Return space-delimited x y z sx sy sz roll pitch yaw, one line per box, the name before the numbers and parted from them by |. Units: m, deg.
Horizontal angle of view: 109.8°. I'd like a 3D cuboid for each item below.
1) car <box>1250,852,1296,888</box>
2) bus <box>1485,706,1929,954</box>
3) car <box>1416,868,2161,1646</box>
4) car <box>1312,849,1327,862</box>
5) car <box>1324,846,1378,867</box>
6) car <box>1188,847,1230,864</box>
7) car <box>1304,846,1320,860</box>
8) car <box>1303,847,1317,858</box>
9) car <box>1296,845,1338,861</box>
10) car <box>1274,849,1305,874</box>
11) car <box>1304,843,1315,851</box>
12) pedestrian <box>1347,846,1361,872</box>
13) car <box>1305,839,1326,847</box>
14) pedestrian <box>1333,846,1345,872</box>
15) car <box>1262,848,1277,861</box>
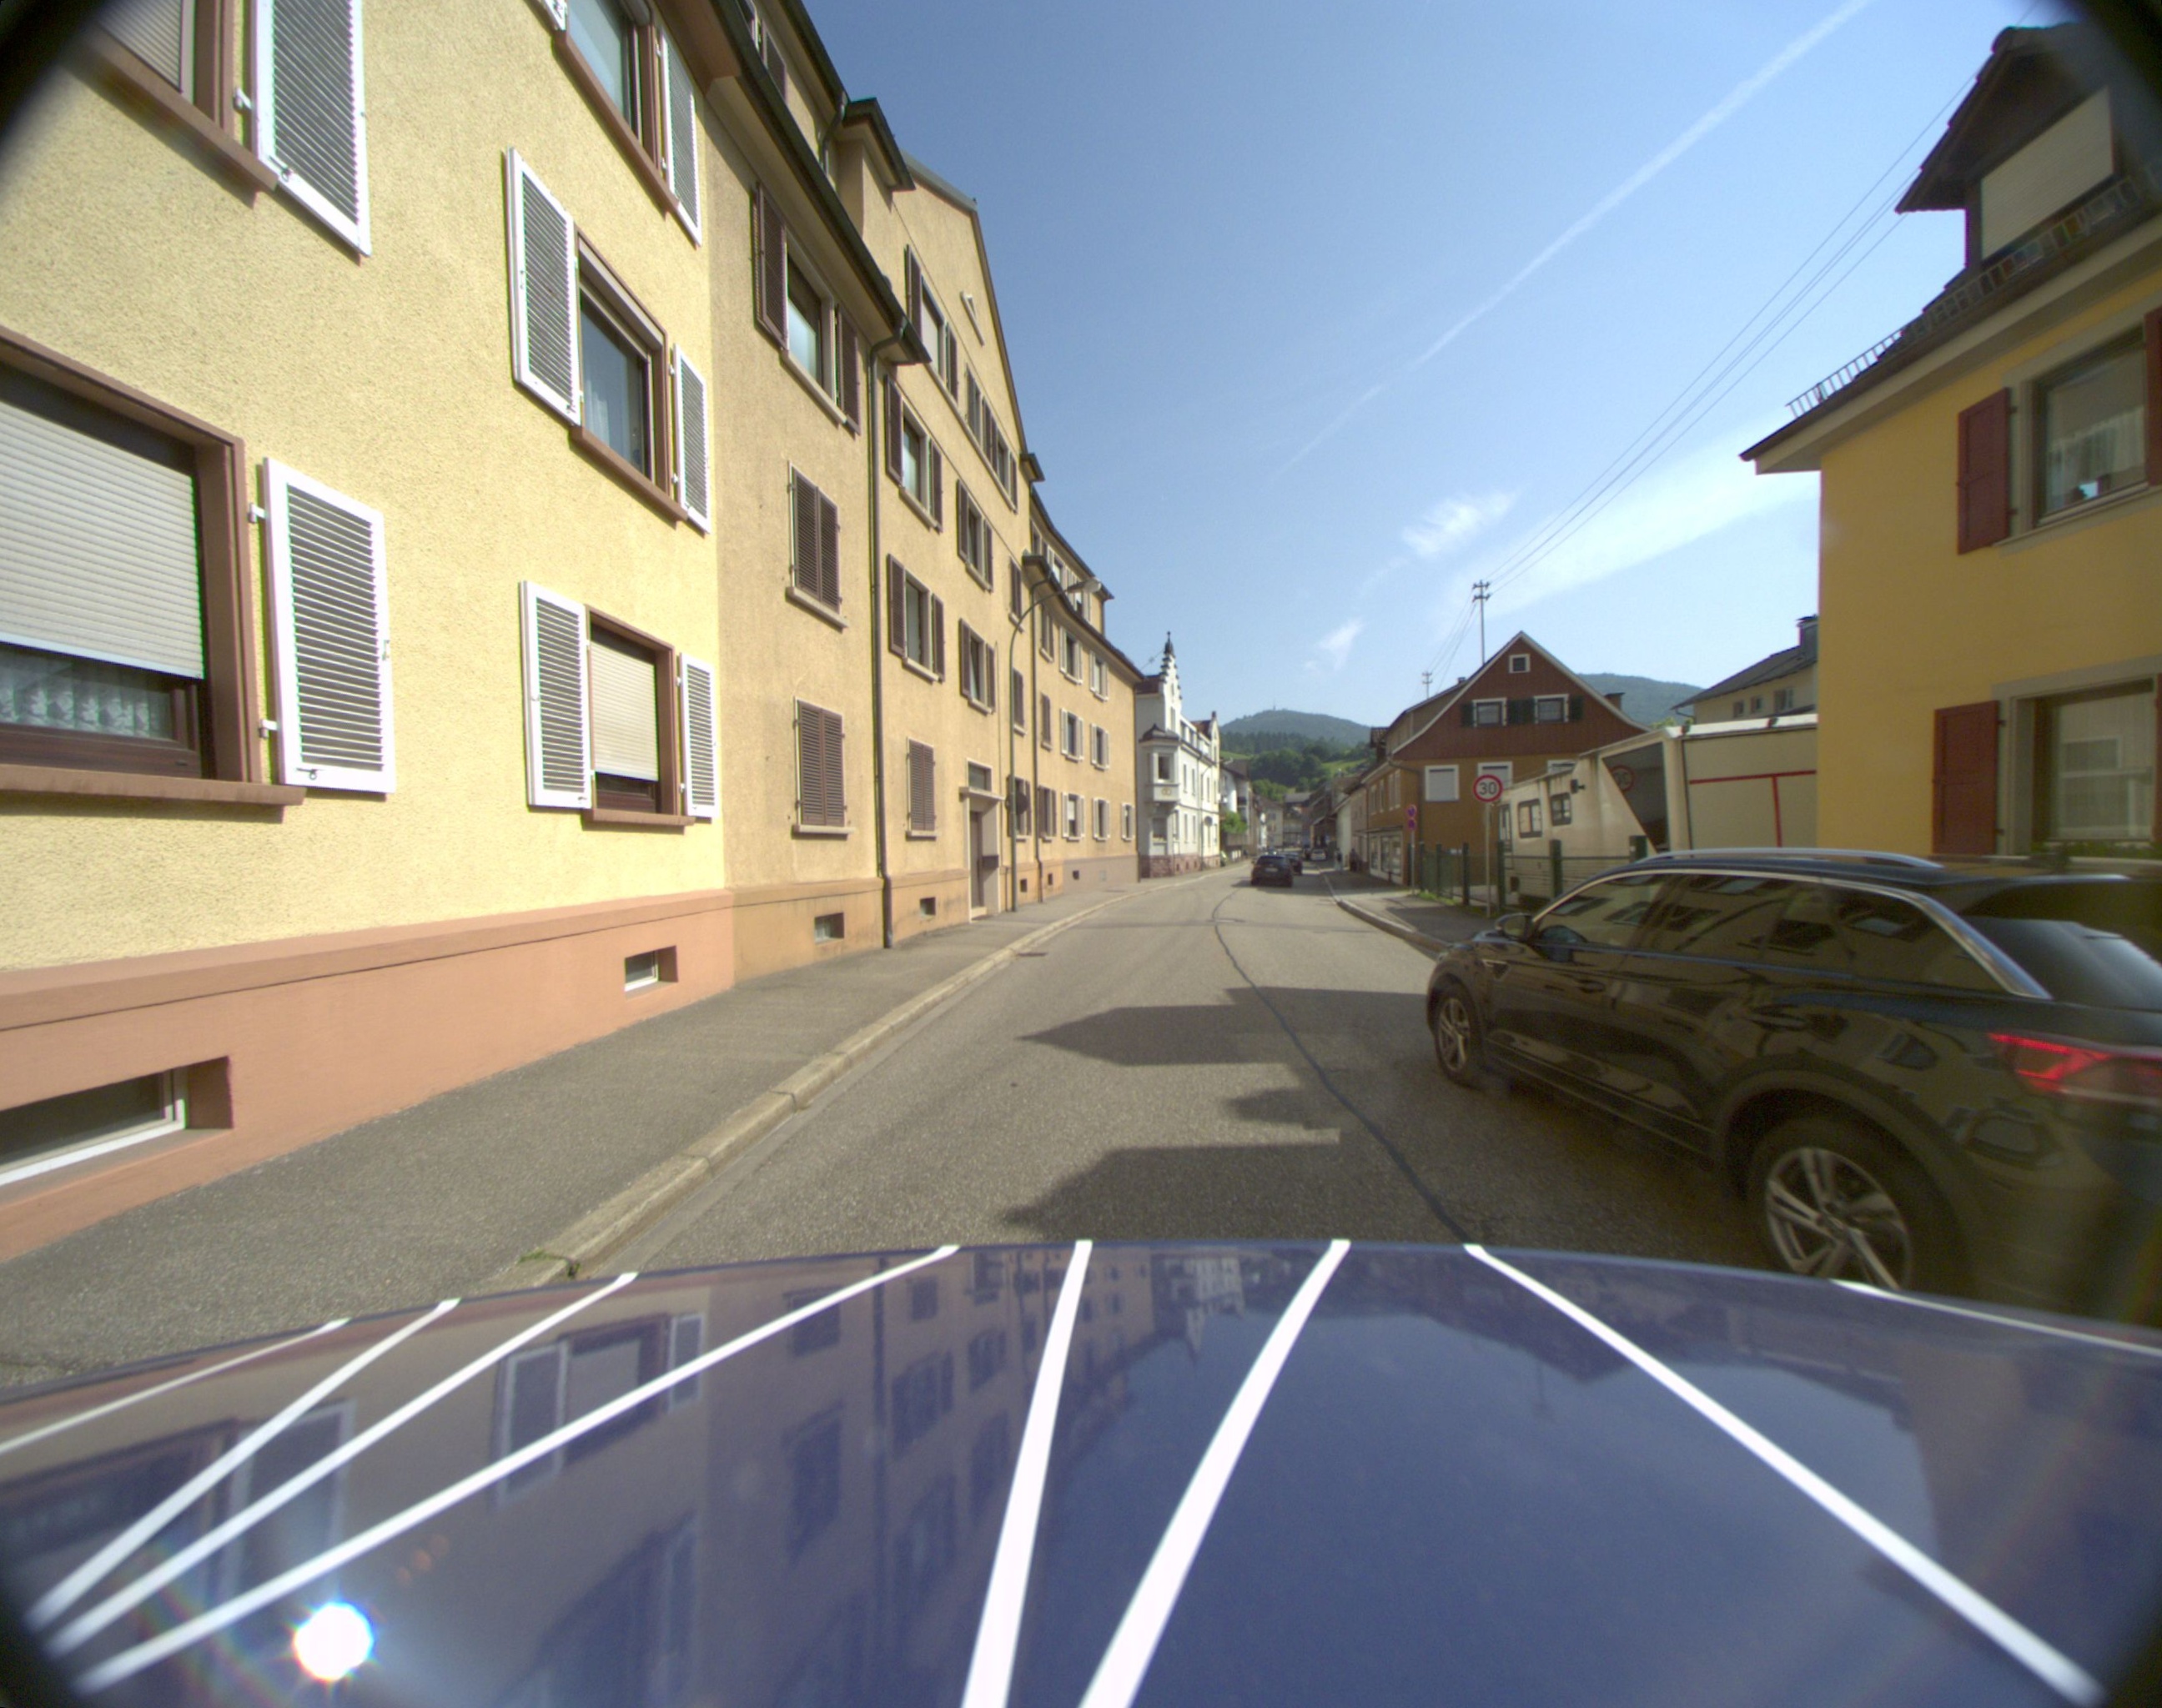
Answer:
car | 8.695 0.648 34.195 1.660 1.441 4.264 2 1 18
bus | 10.802 -0.324 14.778 2.824 3.209 9.044 -3 0 13
car | 3.224 0.900 3.305 1.828 1.528 4.001 3 0 2
car | 29.498 0.190 94.112 1.668 1.423 3.573 -2 0 16
car | 22.029 0.197 62.134 3.993 1.584 1.909 -2 0 13
car | 12.070 0.143 71.824 3.651 1.456 1.604 3 2 18
car | 29.928 -0.187 98.599 1.722 1.786 4.273 -1 1 13
car | 33.592 -0.203 111.562 1.676 1.546 3.768 -2 0 14
car | 24.863 -0.065 79.958 3.990 1.652 1.827 -1 -1 24
car | 13.701 0.463 50.153 1.750 1.445 4.031 3 2 13
car | 45.537 -1.408 151.474 1.785 1.566 3.892 -4 0 15
pedestrian | 16.890 0.301 47.054 0.736 1.555 0.825 -3 0 17
car | 49.303 -2.279 159.697 3.995 1.674 1.836 -1 -1 7
pedestrian | 16.068 0.299 47.335 0.640 1.617 0.778 -3 0 17
car | 29.873 0.088 120.309 1.997 2.002 4.003 -2 1 11
